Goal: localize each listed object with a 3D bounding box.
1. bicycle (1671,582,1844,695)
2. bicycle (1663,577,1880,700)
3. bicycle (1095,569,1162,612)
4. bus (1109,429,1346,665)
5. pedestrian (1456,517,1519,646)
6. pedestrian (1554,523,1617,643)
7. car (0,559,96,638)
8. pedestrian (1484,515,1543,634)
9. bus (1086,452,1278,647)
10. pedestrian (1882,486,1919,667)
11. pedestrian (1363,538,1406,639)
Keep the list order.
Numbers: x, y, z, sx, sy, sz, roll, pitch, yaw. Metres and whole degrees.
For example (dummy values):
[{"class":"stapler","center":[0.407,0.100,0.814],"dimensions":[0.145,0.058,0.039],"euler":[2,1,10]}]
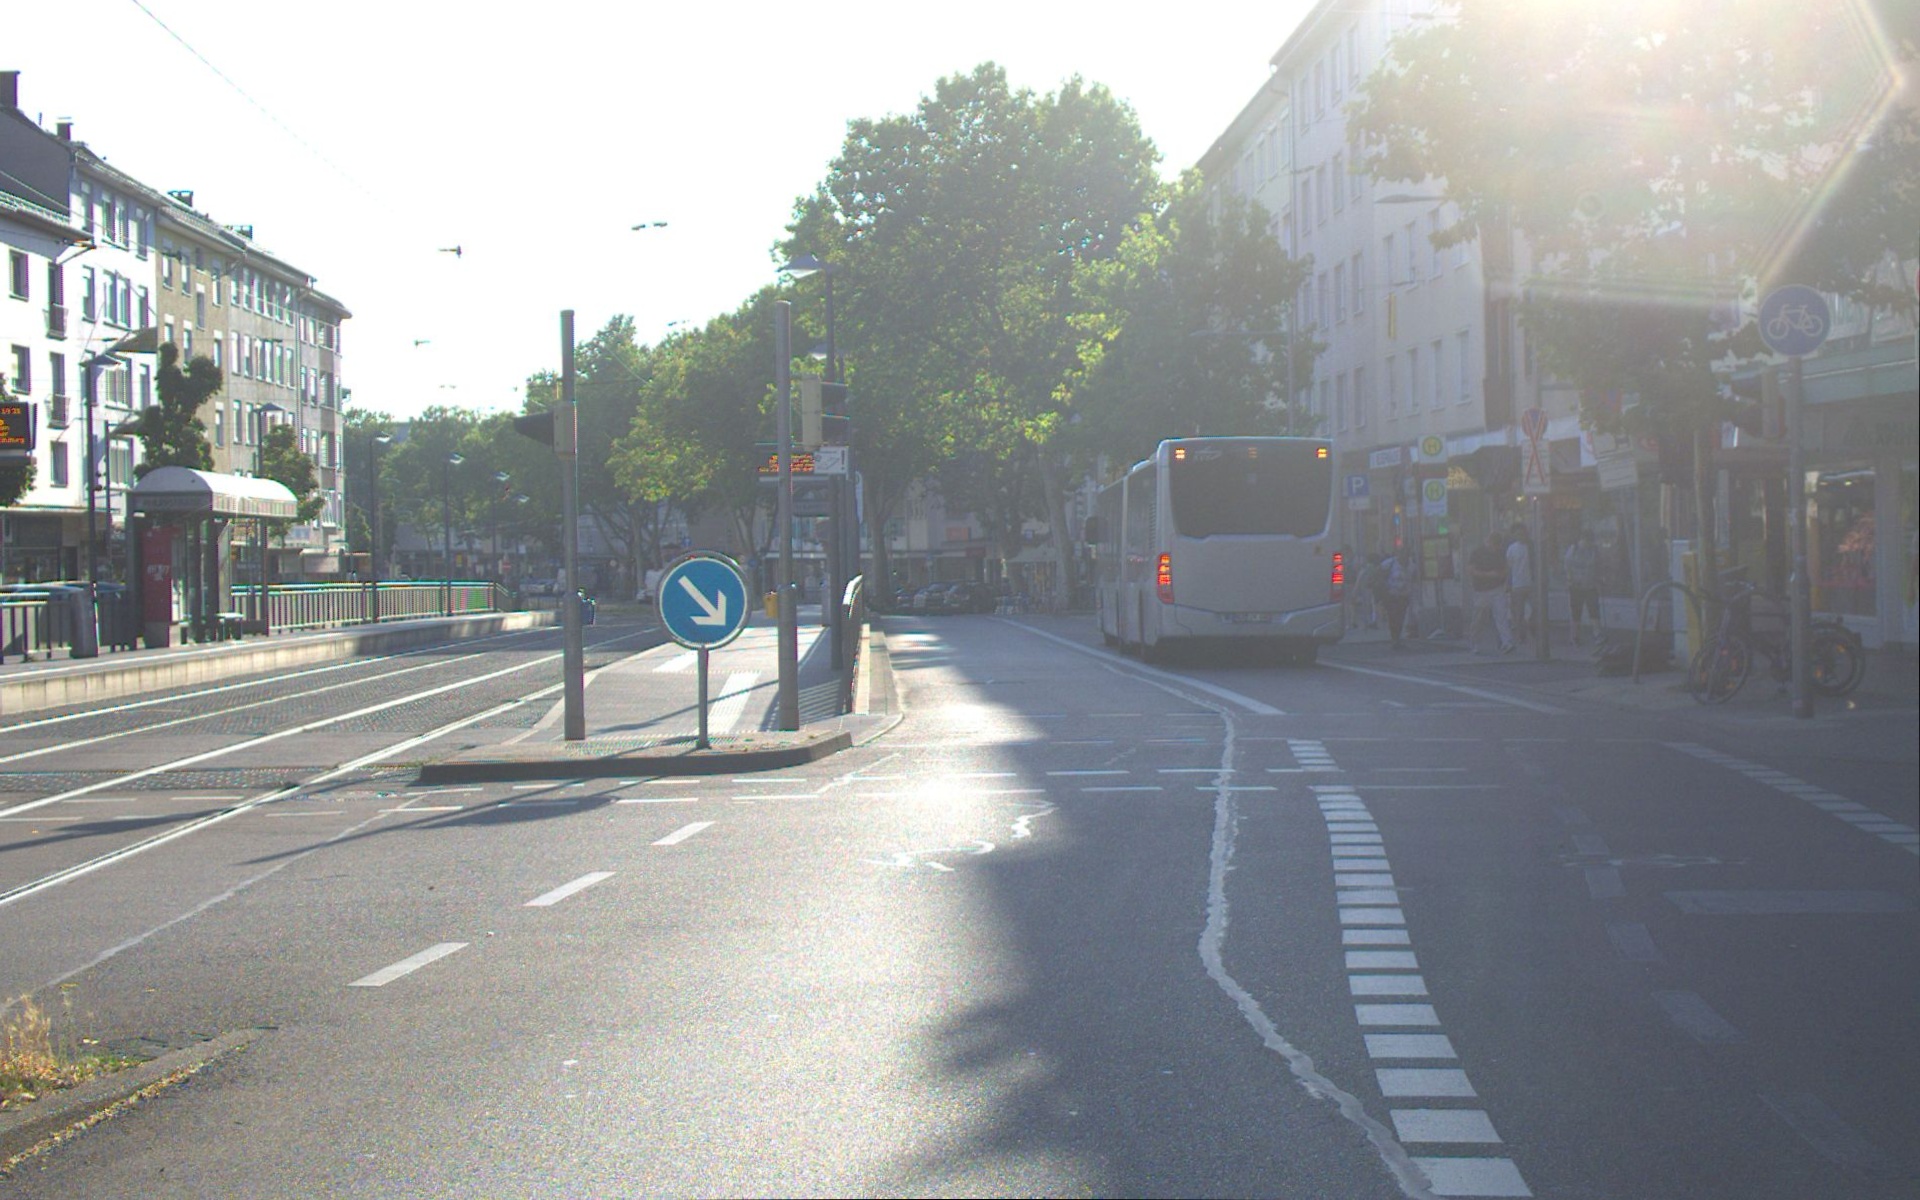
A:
[{"class":"bicycle","center":[7.390,0.352,31.871],"dimensions":[1.482,1.005,0.454],"euler":[-1,1,-4]},{"class":"bicycle","center":[7.358,0.343,31.203],"dimensions":[1.798,1.005,0.541],"euler":[-3,1,-4]},{"class":"bicycle","center":[4.939,-0.275,100.949],"dimensions":[1.887,1.073,0.754],"euler":[-5,1,2]},{"class":"bus","center":[3.741,-0.756,50.205],"dimensions":[2.696,3.107,9.382],"euler":[0,1,0]},{"class":"pedestrian","center":[7.454,-0.259,48.574],"dimensions":[0.723,1.800,0.766],"euler":[-1,0,-1]},{"class":"pedestrian","center":[9.098,-0.250,50.016],"dimensions":[0.723,1.717,0.766],"euler":[-1,0,-1]},{"class":"car","center":[-21.552,-0.034,77.920],"dimensions":[1.768,1.674,3.504],"euler":[0,2,35]},{"class":"pedestrian","center":[8.388,-0.385,52.110],"dimensions":[0.723,1.773,0.766],"euler":[-1,0,-1]},{"class":"bus","center":[3.705,-0.863,59.411],"dimensions":[2.696,3.107,9.070],"euler":[0,1,0]},{"class":"pedestrian","center":[9.712,-0.243,34.230],"dimensions":[0.743,1.774,0.895],"euler":[-2,0,-1]},{"class":"pedestrian","center":[6.721,-0.191,54.454],"dimensions":[0.610,1.573,0.851],"euler":[-1,1,4]}]
